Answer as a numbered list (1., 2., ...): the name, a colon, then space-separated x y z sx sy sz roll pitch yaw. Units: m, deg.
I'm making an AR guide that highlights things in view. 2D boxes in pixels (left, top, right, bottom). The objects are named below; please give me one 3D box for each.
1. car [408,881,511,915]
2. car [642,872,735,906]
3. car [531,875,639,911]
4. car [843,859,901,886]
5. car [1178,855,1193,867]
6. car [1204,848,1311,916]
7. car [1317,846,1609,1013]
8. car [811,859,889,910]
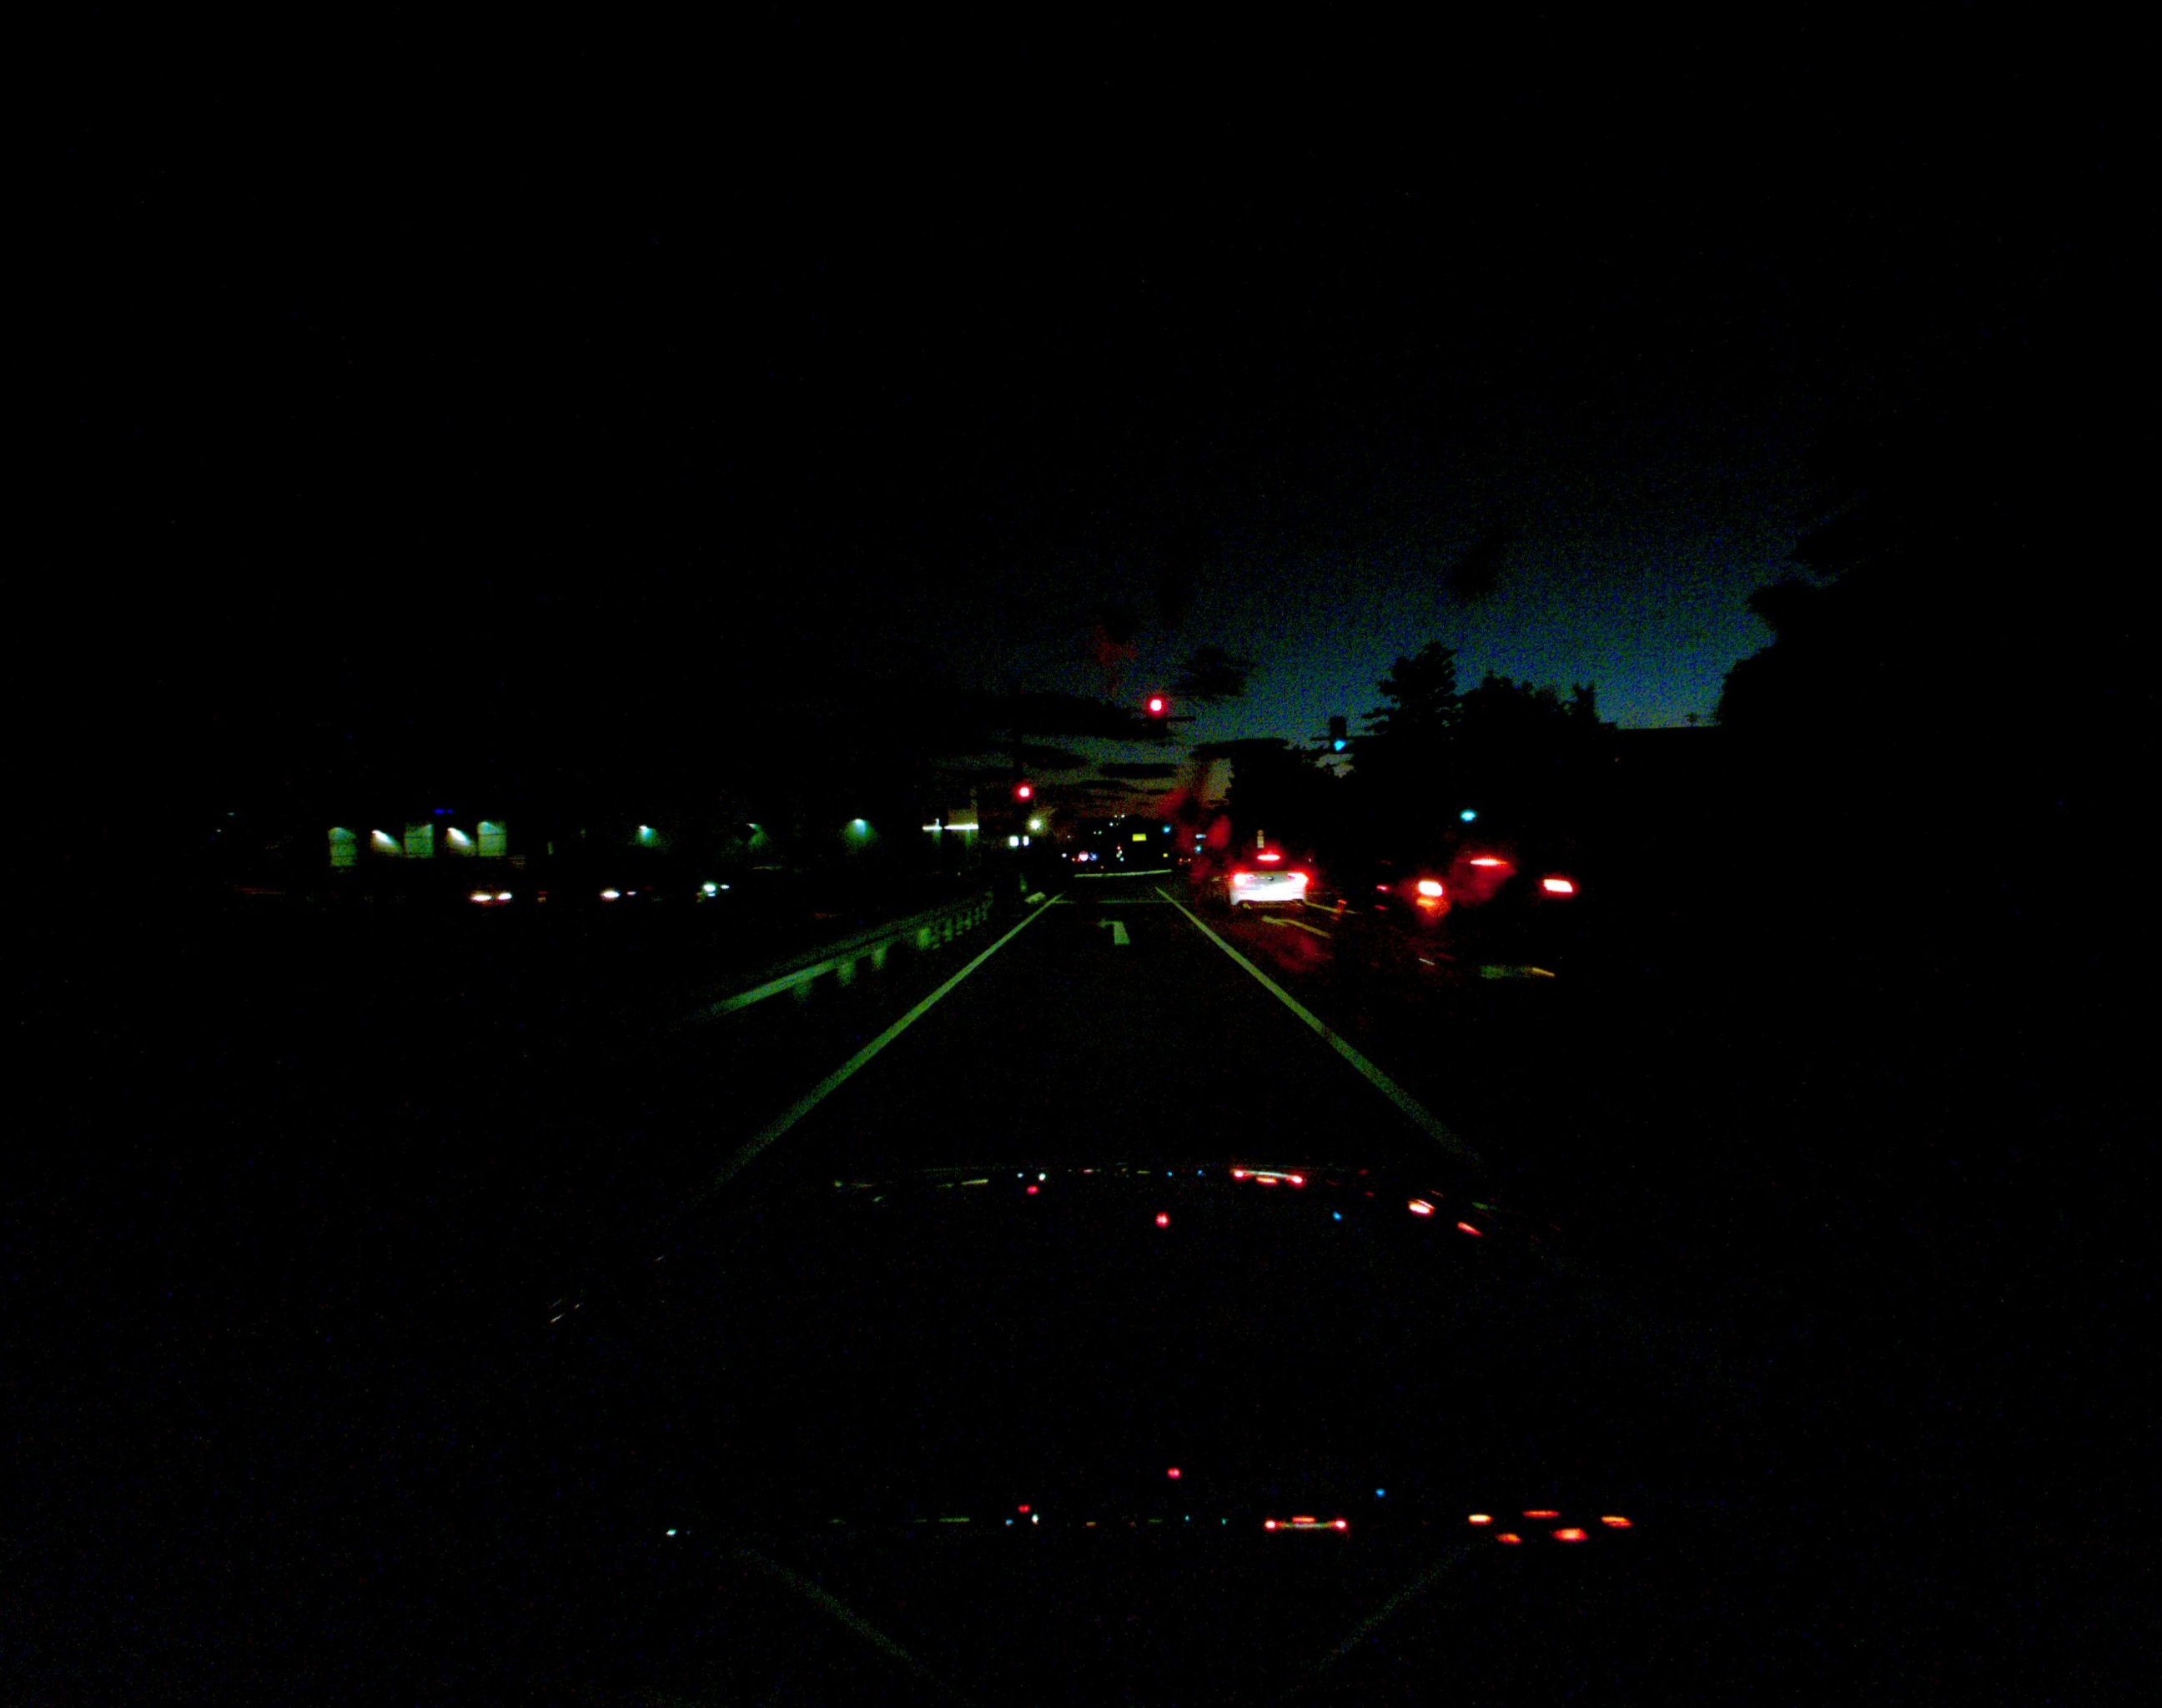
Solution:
1. car: -29.513 2.083 38.734 3.777 1.459 1.694 -2 1 9
2. car: -19.724 1.734 40.974 3.836 1.474 1.708 -3 -1 7
3. car: -22.570 1.775 37.150 3.963 1.460 1.764 -2 -1 9
4. car: -16.101 1.409 62.735 4.010 2.014 1.982 0 -1 -28
5. car: 15.889 1.017 124.186 1.928 1.646 4.002 -2 0 2
6. car: 4.166 0.599 19.811 1.752 1.459 4.193 -1 0 1
7. car: 3.887 0.659 8.955 1.646 1.450 3.491 -1 0 2
8. car: -8.012 1.027 28.534 1.539 1.519 3.517 -4 0 2
